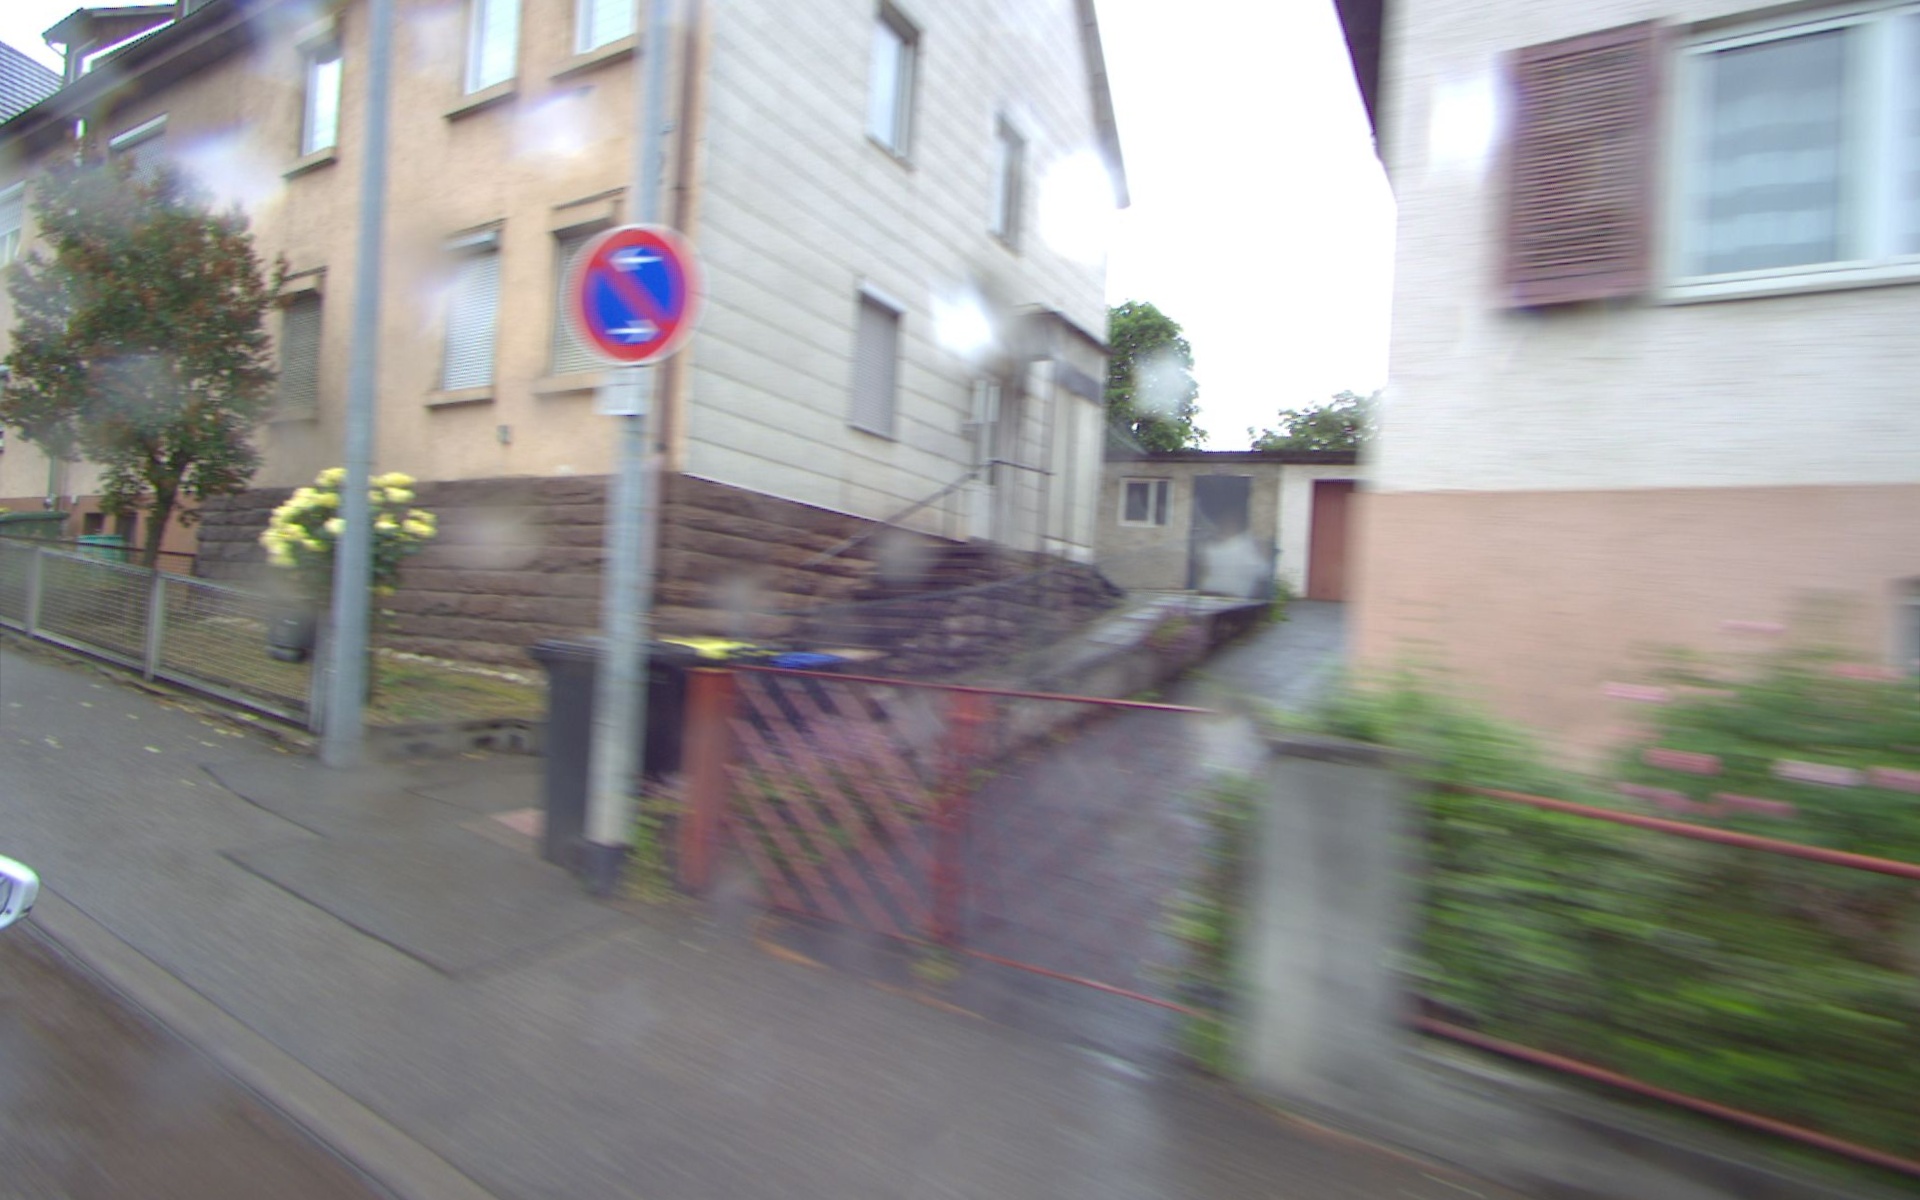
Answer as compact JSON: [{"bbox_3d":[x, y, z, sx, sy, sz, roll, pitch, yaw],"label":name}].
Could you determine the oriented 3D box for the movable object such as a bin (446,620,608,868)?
[{"bbox_3d":[-2.001,0.643,4.656,0.479,1.030,0.380,7,0,32],"label":"movable object such as a bin"}]

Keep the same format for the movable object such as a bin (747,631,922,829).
[{"bbox_3d":[-0.742,0.730,5.971,0.778,0.981,0.609,7,6,29],"label":"movable object such as a bin"}]

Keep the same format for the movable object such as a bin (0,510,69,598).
[{"bbox_3d":[-12.545,-0.613,13.510,0.644,1.108,0.660,7,3,29],"label":"movable object such as a bin"}]

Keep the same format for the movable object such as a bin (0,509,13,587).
[{"bbox_3d":[-14.186,-0.771,14.499,0.536,1.108,0.644,7,4,29],"label":"movable object such as a bin"}]

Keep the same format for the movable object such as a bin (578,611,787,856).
[{"bbox_3d":[-1.437,0.644,5.232,0.778,1.091,0.609,7,3,29],"label":"movable object such as a bin"}]
